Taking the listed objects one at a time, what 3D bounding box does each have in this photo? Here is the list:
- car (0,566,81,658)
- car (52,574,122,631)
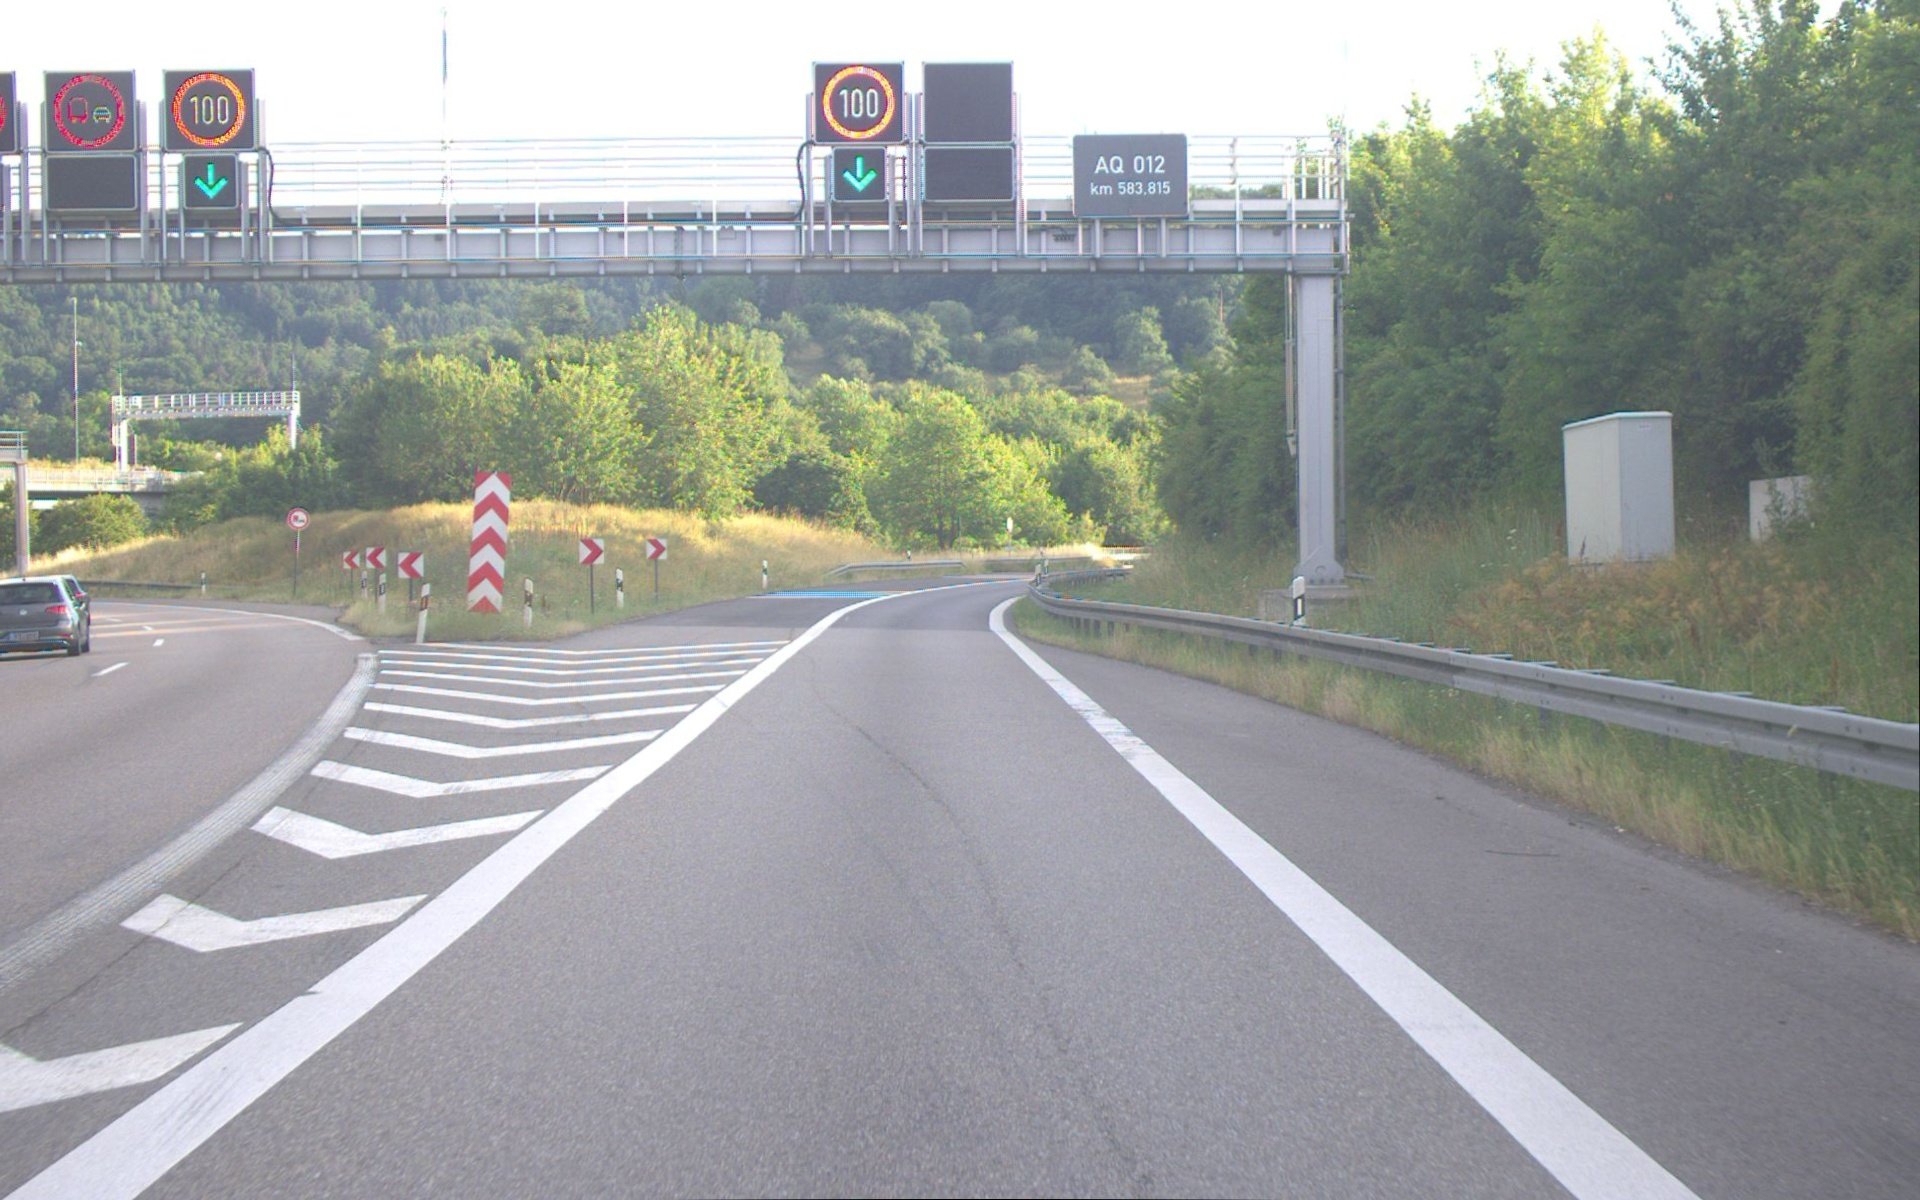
[{"bbox_3d":[-16.259,0.191,59.668,1.737,1.461,3.788,-4,2,-16],"label":"car"},{"bbox_3d":[-24.124,0.056,94.951,1.603,1.461,3.528,-3,1,-17],"label":"car"}]
